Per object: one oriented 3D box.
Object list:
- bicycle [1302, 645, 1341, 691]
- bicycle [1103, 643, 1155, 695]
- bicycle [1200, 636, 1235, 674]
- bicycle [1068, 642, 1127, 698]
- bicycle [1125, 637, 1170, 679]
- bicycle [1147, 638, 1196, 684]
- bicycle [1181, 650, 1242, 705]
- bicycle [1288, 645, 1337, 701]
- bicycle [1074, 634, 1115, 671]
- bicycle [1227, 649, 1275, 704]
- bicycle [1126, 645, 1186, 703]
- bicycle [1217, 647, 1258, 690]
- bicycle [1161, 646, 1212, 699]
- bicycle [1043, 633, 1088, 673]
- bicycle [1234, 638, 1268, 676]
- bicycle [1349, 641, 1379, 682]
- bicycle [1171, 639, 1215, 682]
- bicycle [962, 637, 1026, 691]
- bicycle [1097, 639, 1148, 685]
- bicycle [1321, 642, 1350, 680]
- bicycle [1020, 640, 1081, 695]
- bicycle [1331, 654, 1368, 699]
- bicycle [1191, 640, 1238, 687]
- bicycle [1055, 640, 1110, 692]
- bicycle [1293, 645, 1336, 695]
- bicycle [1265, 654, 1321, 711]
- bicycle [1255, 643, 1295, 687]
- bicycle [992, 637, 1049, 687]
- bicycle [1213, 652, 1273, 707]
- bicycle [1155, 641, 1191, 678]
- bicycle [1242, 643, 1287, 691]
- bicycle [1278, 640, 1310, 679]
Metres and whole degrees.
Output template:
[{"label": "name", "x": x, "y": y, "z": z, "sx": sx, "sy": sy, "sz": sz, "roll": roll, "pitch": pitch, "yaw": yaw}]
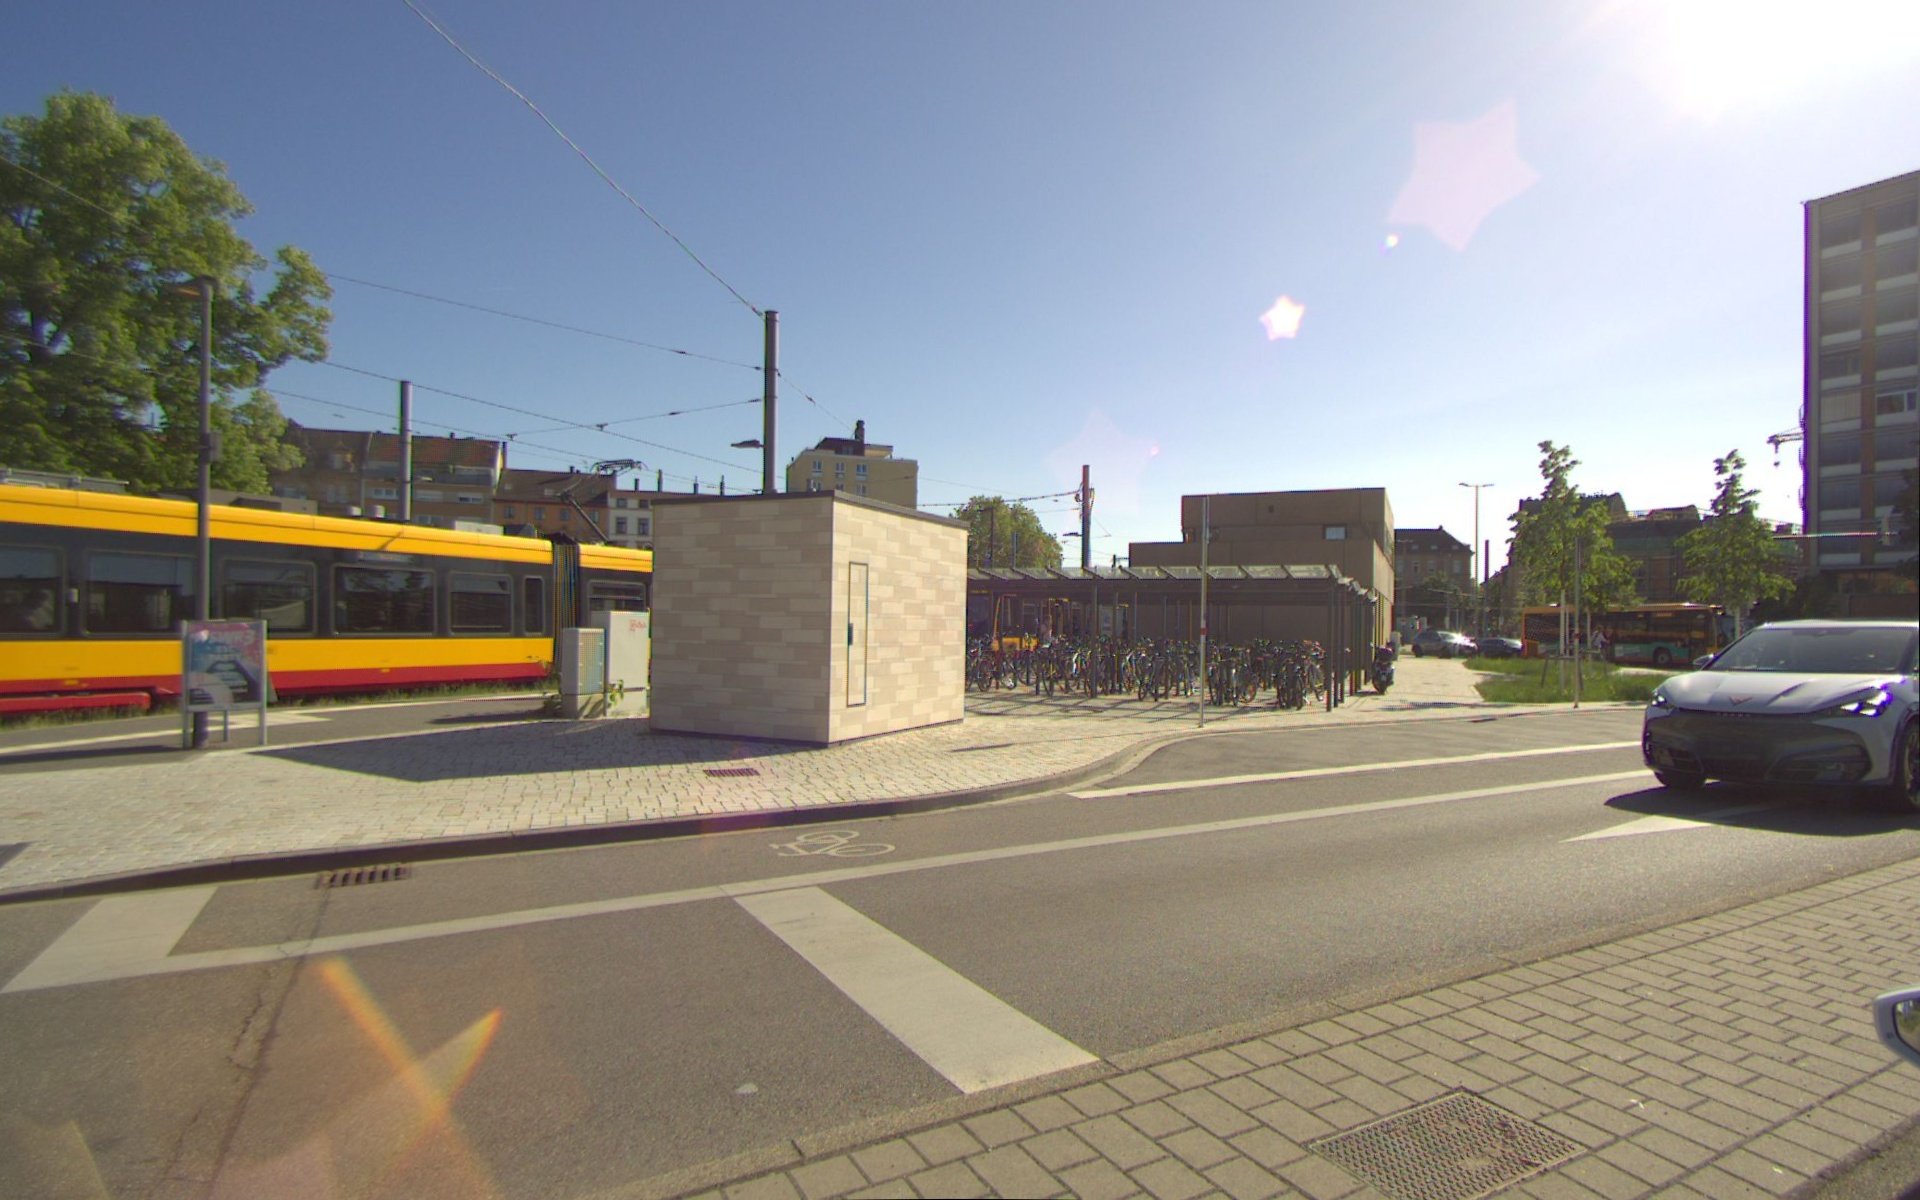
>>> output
[{"label": "bicycle", "x": 9.366, "y": 1.740, "z": 25.973, "sx": 0.572, "sy": 1.102, "sz": 2.012, "roll": 2, "pitch": -2, "yaw": 30}, {"label": "bicycle", "x": 3.741, "y": 1.497, "z": 22.139, "sx": 0.571, "sy": 1.072, "sz": 1.814, "roll": 2, "pitch": -2, "yaw": 28}, {"label": "bicycle", "x": 7.908, "y": 1.686, "z": 30.799, "sx": 0.572, "sy": 1.102, "sz": 1.869, "roll": 2, "pitch": -2, "yaw": 28}, {"label": "bicycle", "x": 2.812, "y": 1.408, "z": 20.429, "sx": 0.571, "sy": 1.072, "sz": 1.814, "roll": 2, "pitch": -2, "yaw": 28}, {"label": "bicycle", "x": 5.287, "y": 1.621, "z": 28.279, "sx": 0.572, "sy": 1.102, "sz": 2.055, "roll": 2, "pitch": -2, "yaw": 30}, {"label": "bicycle", "x": 5.405, "y": 1.552, "z": 25.602, "sx": 0.572, "sy": 1.102, "sz": 2.055, "roll": 2, "pitch": -2, "yaw": 30}, {"label": "bicycle", "x": 4.890, "y": 1.473, "z": 19.437, "sx": 0.572, "sy": 0.973, "sz": 2.055, "roll": 2, "pitch": -2, "yaw": 30}, {"label": "bicycle", "x": 7.228, "y": 1.467, "z": 20.558, "sx": 0.572, "sy": 1.065, "sz": 1.969, "roll": 2, "pitch": -2, "yaw": 30}, {"label": "bicycle", "x": 4.277, "y": 1.661, "z": 31.839, "sx": 0.557, "sy": 1.108, "sz": 2.027, "roll": 2, "pitch": -2, "yaw": 28}, {"label": "bicycle", "x": 6.117, "y": 1.573, "z": 21.048, "sx": 0.571, "sy": 1.072, "sz": 1.814, "roll": 2, "pitch": -2, "yaw": 28}, {"label": "bicycle", "x": 3.885, "y": 1.438, "z": 19.789, "sx": 0.572, "sy": 1.072, "sz": 1.813, "roll": 2, "pitch": -2, "yaw": 30}, {"label": "bicycle", "x": 7.514, "y": 1.840, "z": 27.172, "sx": 0.572, "sy": 1.102, "sz": 1.897, "roll": 2, "pitch": -2, "yaw": 30}, {"label": "bicycle", "x": 4.872, "y": 1.529, "z": 21.495, "sx": 0.571, "sy": 1.072, "sz": 1.814, "roll": 2, "pitch": -2, "yaw": 28}, {"label": "bicycle", "x": 3.100, "y": 1.539, "z": 29.344, "sx": 0.557, "sy": 1.108, "sz": 2.027, "roll": 2, "pitch": -2, "yaw": 28}, {"label": "bicycle", "x": 8.788, "y": 1.712, "z": 30.286, "sx": 0.572, "sy": 1.102, "sz": 1.869, "roll": 2, "pitch": -2, "yaw": 28}, {"label": "bicycle", "x": 11.596, "y": 1.750, "z": 28.794, "sx": 0.571, "sy": 1.102, "sz": 1.869, "roll": 2, "pitch": -2, "yaw": 28}, {"label": "bicycle", "x": 6.419, "y": 1.654, "z": 27.617, "sx": 0.572, "sy": 1.102, "sz": 2.055, "roll": 2, "pitch": -2, "yaw": 30}, {"label": "bicycle", "x": 0.741, "y": 1.339, "z": 21.284, "sx": 0.571, "sy": 1.072, "sz": 1.814, "roll": 2, "pitch": -2, "yaw": 28}, {"label": "bicycle", "x": 4.241, "y": 1.595, "z": 26.053, "sx": 0.572, "sy": 1.102, "sz": 2.055, "roll": 2, "pitch": -2, "yaw": 30}, {"label": "bicycle", "x": 11.566, "y": 1.852, "z": 30.885, "sx": 0.571, "sy": 1.102, "sz": 1.869, "roll": 2, "pitch": -2, "yaw": 28}, {"label": "bicycle", "x": 1.888, "y": 1.376, "z": 20.763, "sx": 0.571, "sy": 1.072, "sz": 1.814, "roll": 2, "pitch": -2, "yaw": 28}, {"label": "bicycle", "x": 9.152, "y": 1.779, "z": 23.578, "sx": 0.571, "sy": 0.973, "sz": 2.056, "roll": 2, "pitch": -2, "yaw": 27}, {"label": "bicycle", "x": 6.387, "y": 1.583, "z": 25.125, "sx": 0.572, "sy": 1.102, "sz": 2.055, "roll": 2, "pitch": -2, "yaw": 30}, {"label": "bicycle", "x": 2.760, "y": 1.462, "z": 22.464, "sx": 0.571, "sy": 1.072, "sz": 1.814, "roll": 2, "pitch": -2, "yaw": 28}, {"label": "bicycle", "x": 8.444, "y": 1.641, "z": 23.900, "sx": 0.572, "sy": 1.102, "sz": 2.055, "roll": 2, "pitch": -2, "yaw": 30}, {"label": "bicycle", "x": 6.232, "y": 1.514, "z": 18.746, "sx": 0.572, "sy": 0.973, "sz": 2.055, "roll": 2, "pitch": -2, "yaw": 30}, {"label": "bicycle", "x": 8.367, "y": 1.713, "z": 26.603, "sx": 0.572, "sy": 1.102, "sz": 1.926, "roll": 2, "pitch": -2, "yaw": 30}, {"label": "bicycle", "x": 1.402, "y": 1.420, "z": 23.133, "sx": 0.571, "sy": 1.072, "sz": 1.814, "roll": 2, "pitch": -2, "yaw": 28}, {"label": "bicycle", "x": 5.409, "y": 1.488, "z": 19.118, "sx": 0.572, "sy": 0.973, "sz": 2.055, "roll": 2, "pitch": -2, "yaw": 30}, {"label": "bicycle", "x": 6.662, "y": 1.838, "z": 31.347, "sx": 0.572, "sy": 1.102, "sz": 1.869, "roll": 2, "pitch": -2, "yaw": 28}, {"label": "bicycle", "x": 7.481, "y": 1.618, "z": 24.609, "sx": 0.572, "sy": 1.102, "sz": 2.055, "roll": 2, "pitch": -2, "yaw": 30}, {"label": "bicycle", "x": 9.897, "y": 1.746, "z": 29.737, "sx": 0.571, "sy": 1.102, "sz": 1.869, "roll": 2, "pitch": -2, "yaw": 28}]
